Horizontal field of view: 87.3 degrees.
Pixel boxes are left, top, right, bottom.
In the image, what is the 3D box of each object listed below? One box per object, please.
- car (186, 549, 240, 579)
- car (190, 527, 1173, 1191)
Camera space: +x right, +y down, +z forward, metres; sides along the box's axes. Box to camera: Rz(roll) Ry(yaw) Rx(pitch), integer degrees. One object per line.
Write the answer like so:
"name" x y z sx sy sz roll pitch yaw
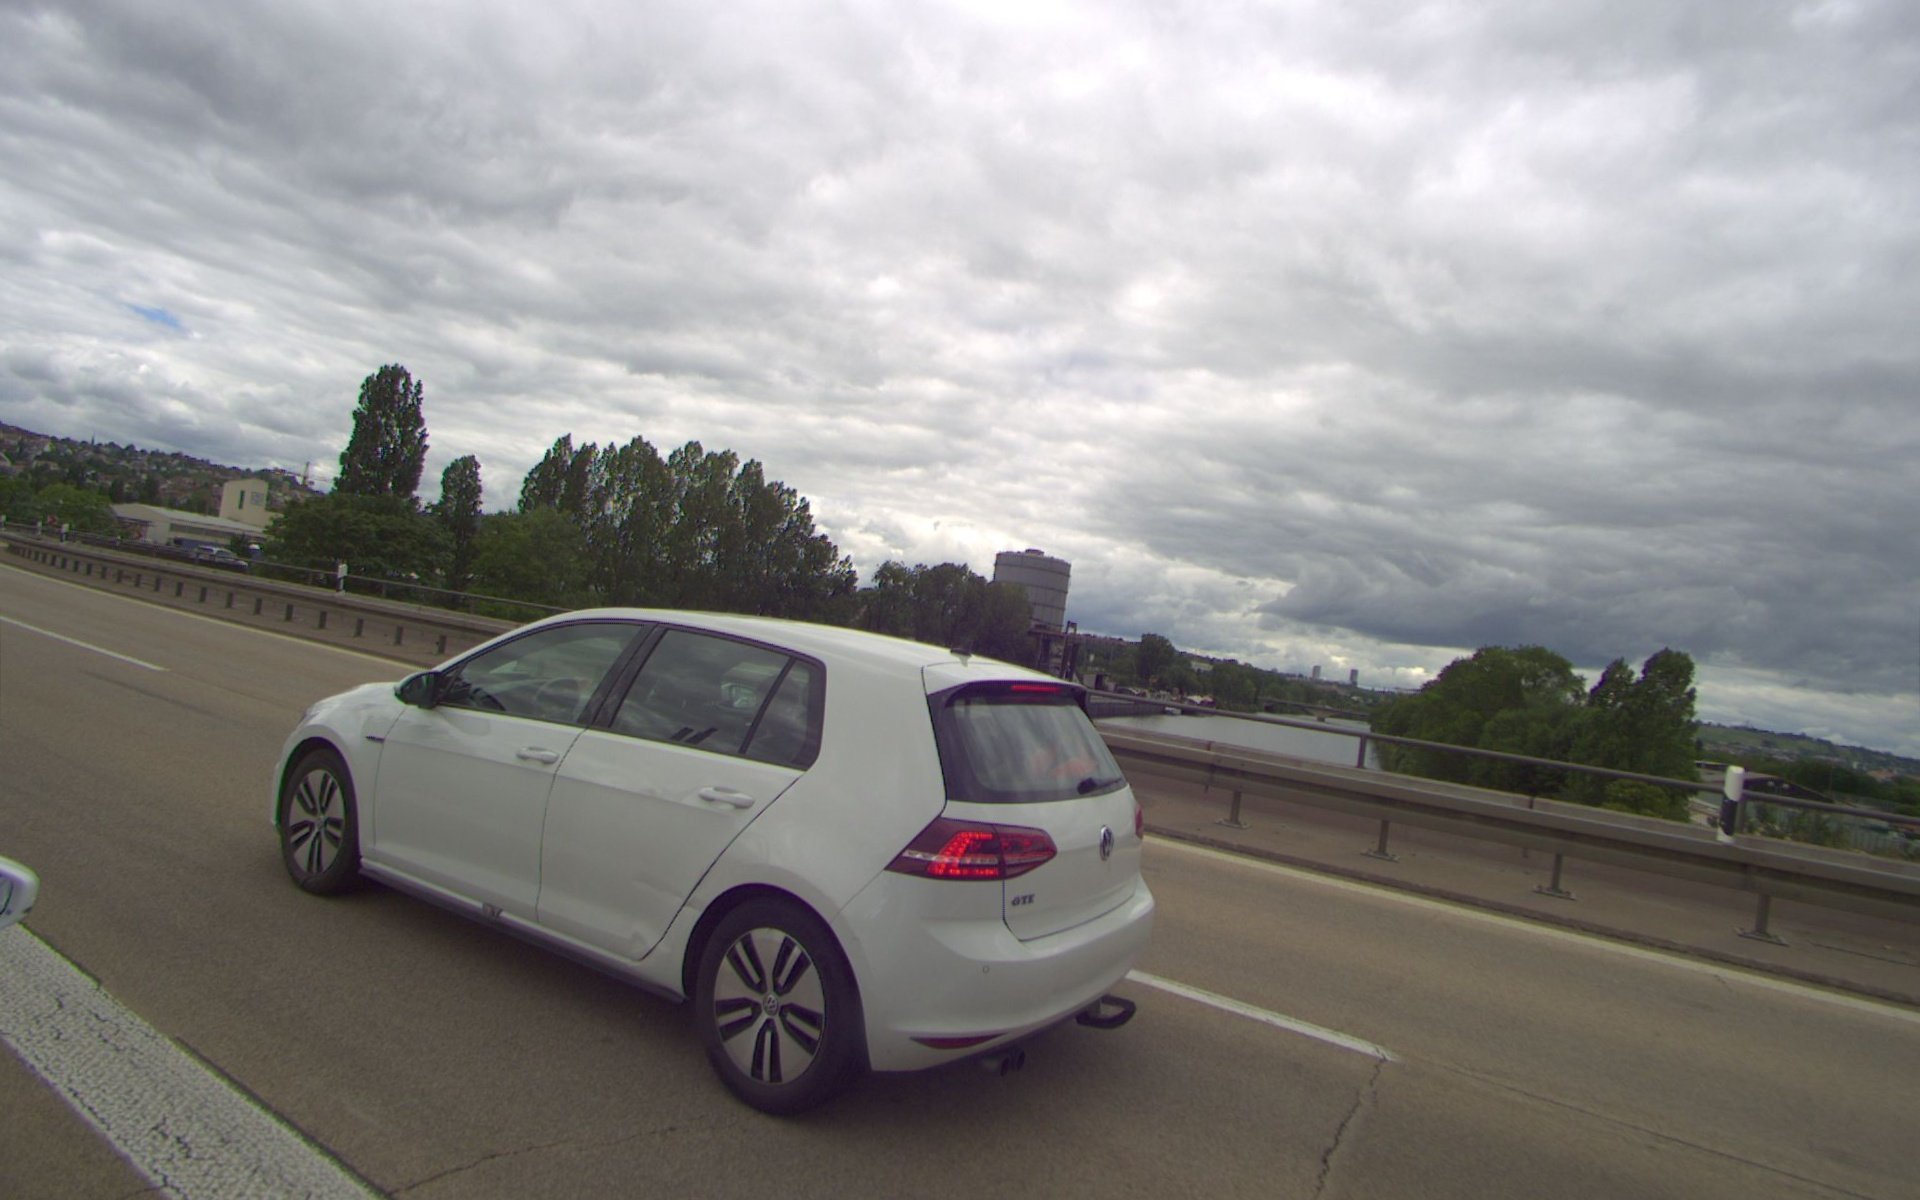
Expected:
"car" -54.128 -2.595 73.007 1.904 1.806 4.094 8 -1 -21
"car" -1.356 0.674 4.416 4.003 1.469 1.757 7 0 31
